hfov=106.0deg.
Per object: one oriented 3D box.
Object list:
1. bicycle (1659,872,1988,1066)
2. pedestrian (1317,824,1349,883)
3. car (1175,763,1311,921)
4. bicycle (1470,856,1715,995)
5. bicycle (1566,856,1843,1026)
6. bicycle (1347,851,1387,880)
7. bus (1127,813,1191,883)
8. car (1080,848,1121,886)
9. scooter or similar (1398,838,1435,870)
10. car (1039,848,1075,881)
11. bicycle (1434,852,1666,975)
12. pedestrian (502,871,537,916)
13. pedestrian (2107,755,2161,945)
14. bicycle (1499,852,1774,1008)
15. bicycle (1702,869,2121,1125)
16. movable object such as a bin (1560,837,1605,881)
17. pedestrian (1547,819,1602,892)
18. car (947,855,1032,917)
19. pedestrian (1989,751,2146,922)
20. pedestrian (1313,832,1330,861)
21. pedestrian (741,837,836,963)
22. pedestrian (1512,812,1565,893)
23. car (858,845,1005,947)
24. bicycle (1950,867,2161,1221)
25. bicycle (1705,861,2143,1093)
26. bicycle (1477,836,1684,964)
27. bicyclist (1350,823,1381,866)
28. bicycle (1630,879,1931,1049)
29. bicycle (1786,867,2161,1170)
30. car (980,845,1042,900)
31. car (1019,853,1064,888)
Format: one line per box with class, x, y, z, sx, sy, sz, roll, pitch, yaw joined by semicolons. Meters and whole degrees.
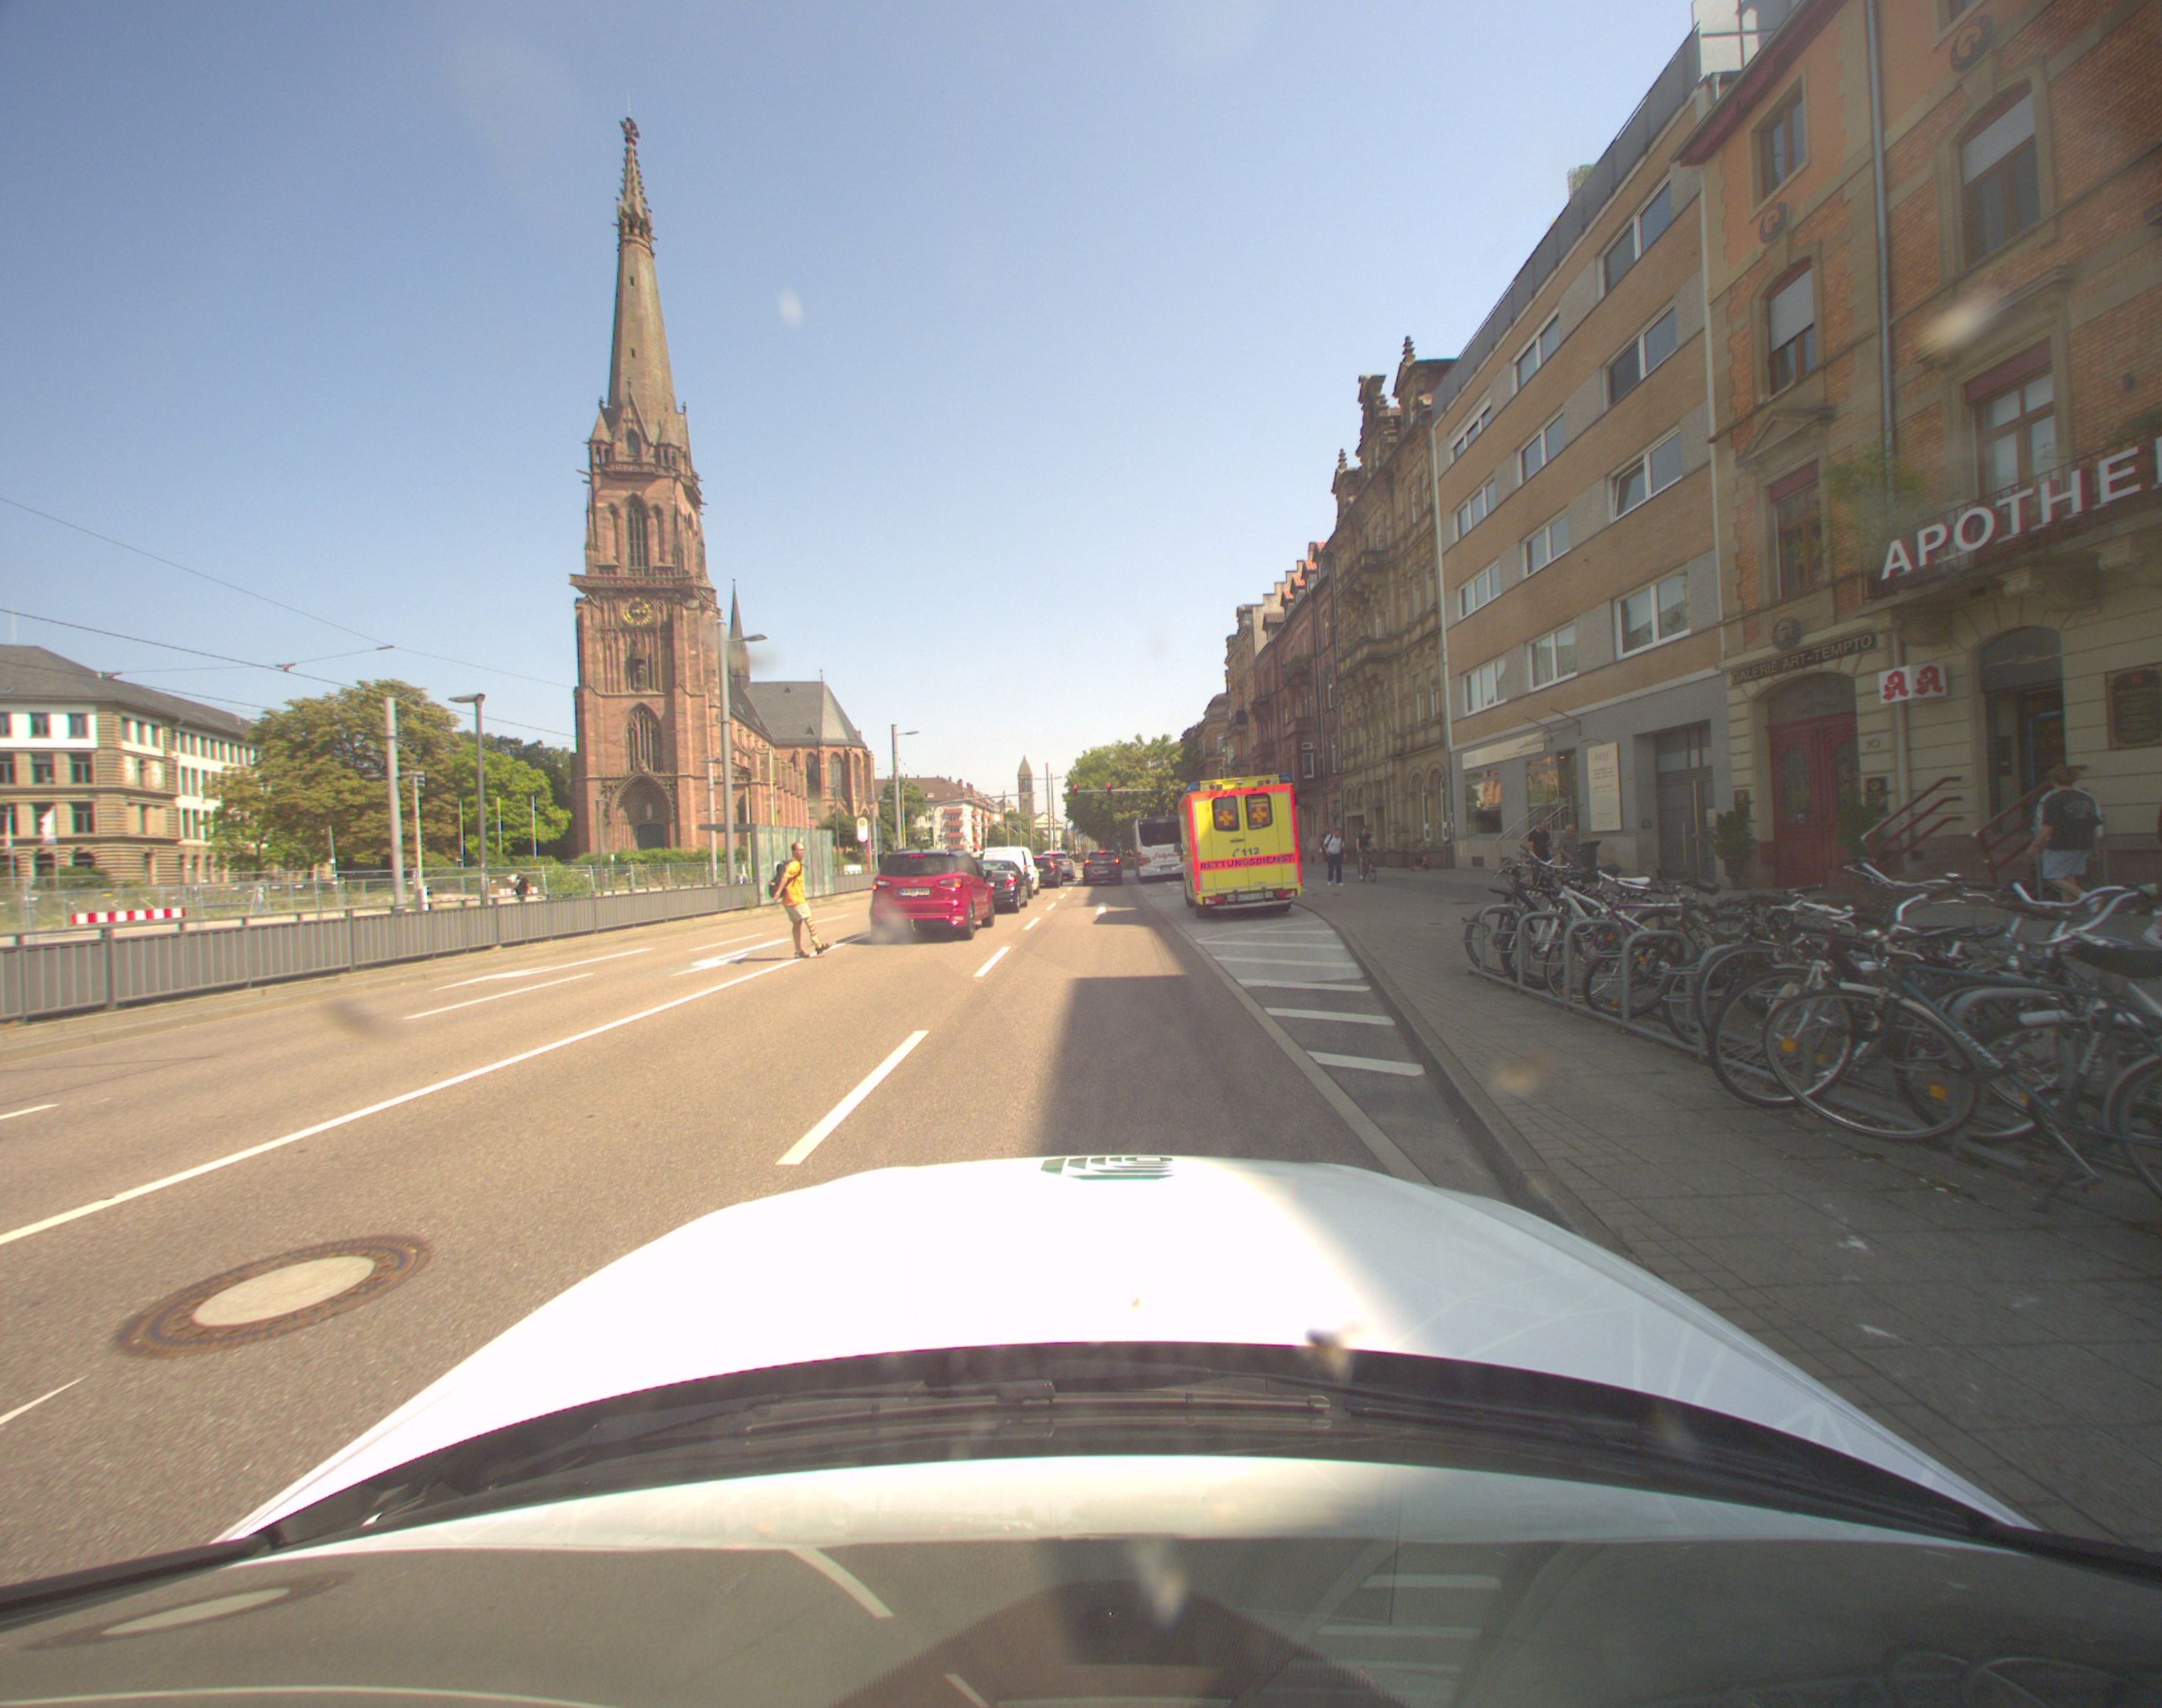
bicycle;4.240;0.643;4.690;1.531;1.016;0.365;-2;1;1
pedestrian;7.419;-0.017;23.948;0.690;1.667;0.606;-3;1;27
car;3.416;-0.258;18.406;2.288;2.888;5.608;-4;0;5
bicycle;4.329;0.583;6.971;1.652;1.072;0.644;-2;0;1
bicycle;4.270;0.580;5.629;1.531;1.071;0.472;-2;1;1
bicycle;9.072;0.362;25.877;0.587;0.855;1.775;-4;-1;0
bus;3.901;-0.289;43.378;2.524;3.031;12.441;-3;0;2
car;0.925;0.614;39.084;1.784;1.677;4.000;-3;-1;0
scooter or similar;12.777;0.011;31.039;0.514;1.196;1.296;-3;0;-17
car;-1.297;0.608;45.648;1.784;1.698;4.000;-3;-1;0
bicycle;4.390;0.548;7.725;1.767;1.072;0.645;-2;0;6
pedestrian;-22.713;1.601;32.962;0.826;1.752;0.721;-3;-1;2
pedestrian;10.209;-0.052;7.473;0.575;1.750;0.679;-5;0;1
bicycle;4.209;0.551;6.250;1.652;1.071;0.644;-2;1;1
bicycle;3.796;0.638;3.769;1.531;1.071;0.365;-2;1;1
movable object such as a bin;12.469;0.127;20.238;0.651;1.047;0.755;-3;0;-42
pedestrian;10.530;0.038;17.387;0.641;1.493;0.789;-3;0;1
car;-2.399;0.799;22.234;1.784;1.431;4.000;-3;0;0
pedestrian;11.359;-0.193;9.405;0.684;1.846;0.841;-4;0;-7
pedestrian;13.587;-0.406;45.993;0.621;1.593;0.695;-3;0;-4
pedestrian;-4.279;0.657;11.980;1.062;1.752;0.763;-3;-1;-2
pedestrian;9.862;-0.025;17.574;0.641;1.685;0.789;-3;0;1
car;-2.678;0.683;15.604;1.755;1.618;4.086;-3;0;3
bicycle;3.574;0.598;2.367;0.474;1.071;1.506;-3;0;2
bicycle;4.260;0.608;4.165;1.828;1.071;0.365;-2;1;1
bicycle;5.053;0.456;8.324;1.665;1.215;0.645;-2;0;6
bicyclist;9.032;-0.305;25.860;0.750;1.322;0.582;-3;0;1
bicycle;4.305;0.665;5.052;1.531;0.952;0.365;-2;1;1
bicycle;4.067;0.621;3.327;2.116;1.071;0.381;-2;1;-3
car;-2.452;0.653;29.405;1.784;1.780;4.000;-3;-1;0
car;-1.755;0.749;37.742;1.784;1.472;4.000;-3;-1;0
